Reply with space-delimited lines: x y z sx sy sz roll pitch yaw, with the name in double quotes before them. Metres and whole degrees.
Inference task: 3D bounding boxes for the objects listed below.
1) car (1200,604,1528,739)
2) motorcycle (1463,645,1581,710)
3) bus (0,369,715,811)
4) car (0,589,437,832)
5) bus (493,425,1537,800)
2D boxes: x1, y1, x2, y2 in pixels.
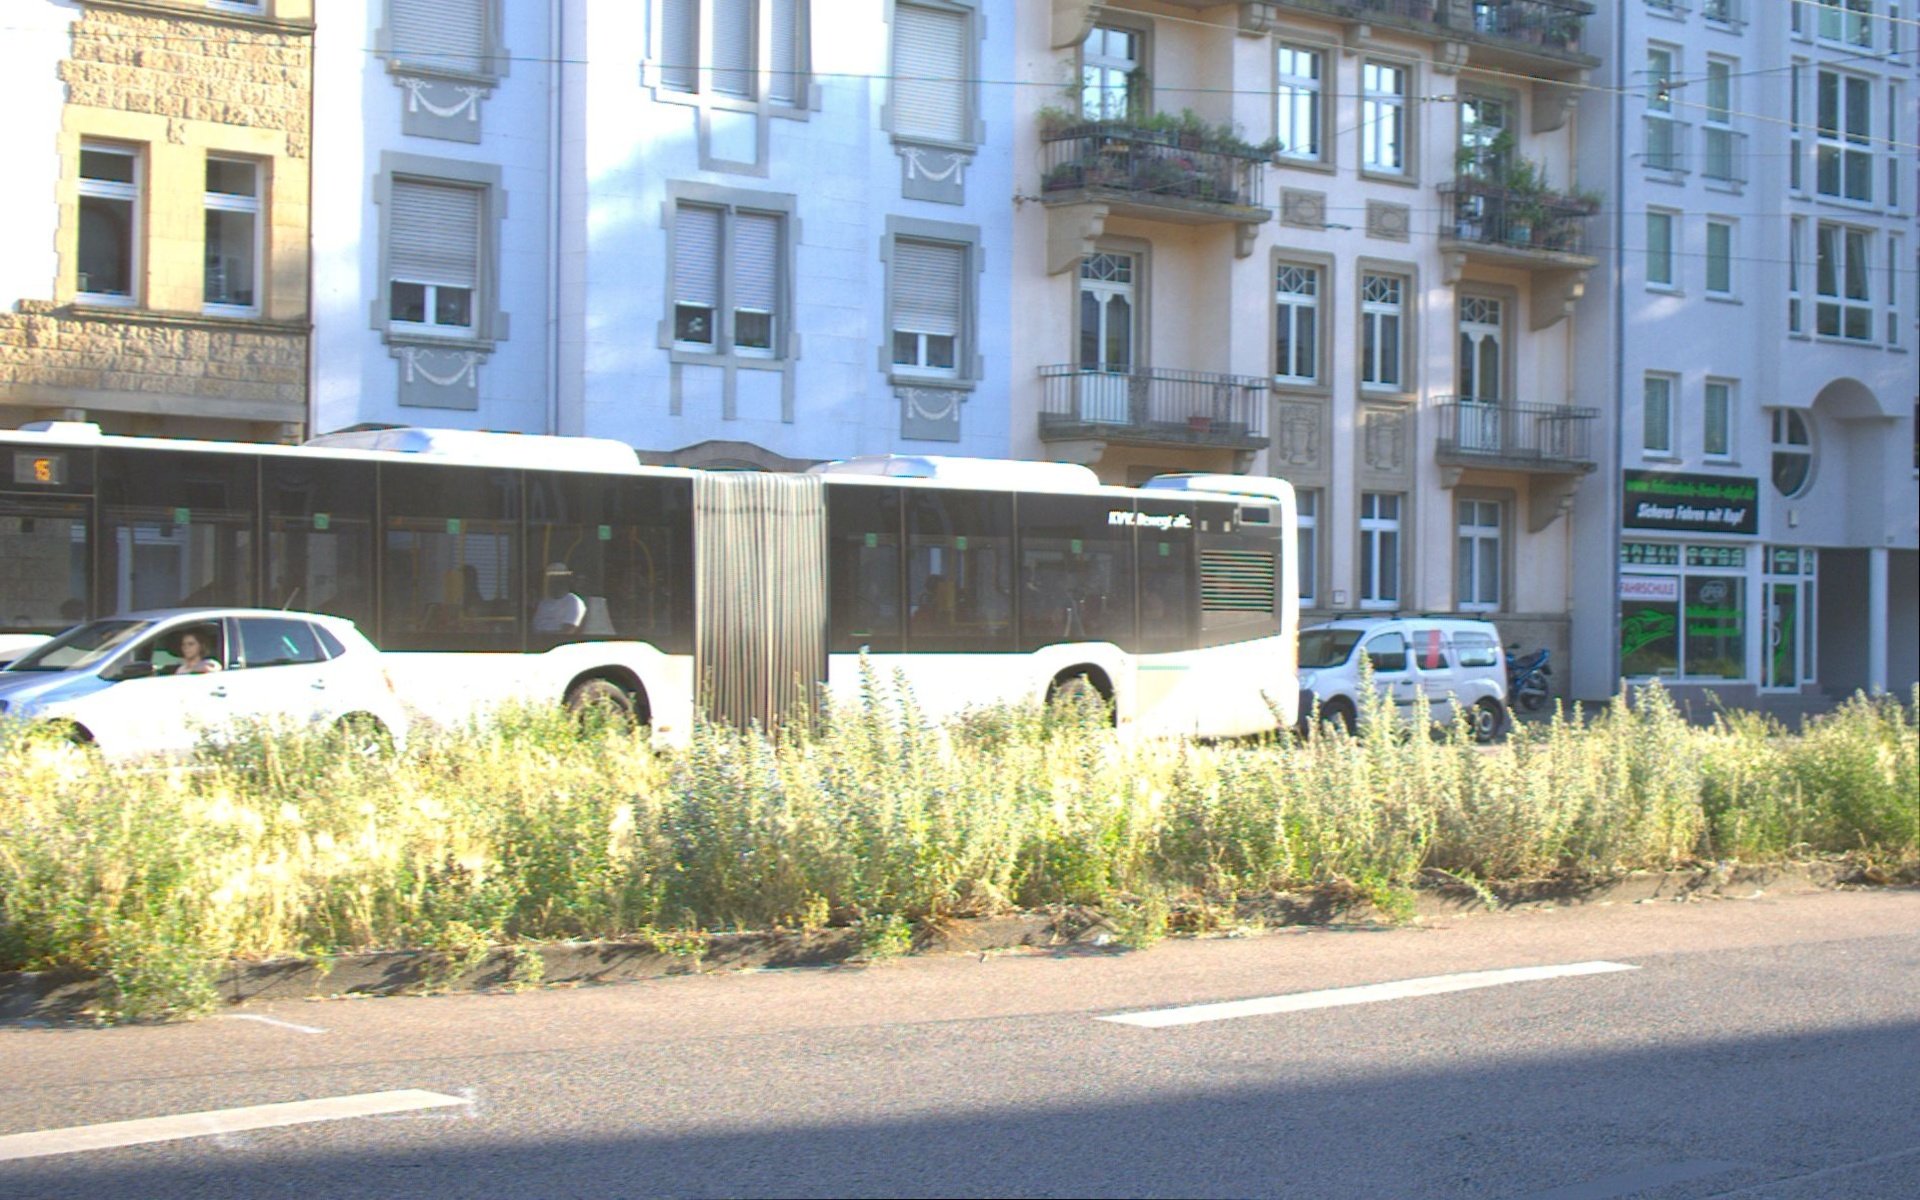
"car" 5.664 1.014 47.899 4.639 1.781 1.909 2 -1 -42
"motorcycle" 9.214 1.260 56.325 2.413 1.017 0.529 1 2 -44
"bus" -6.961 -0.027 28.710 9.871 3.363 3.274 2 -1 -43
"car" -6.123 0.807 25.468 3.988 1.678 1.935 2 -1 -40
"bus" 1.017 0.269 36.105 11.943 3.363 3.264 2 -1 -43
